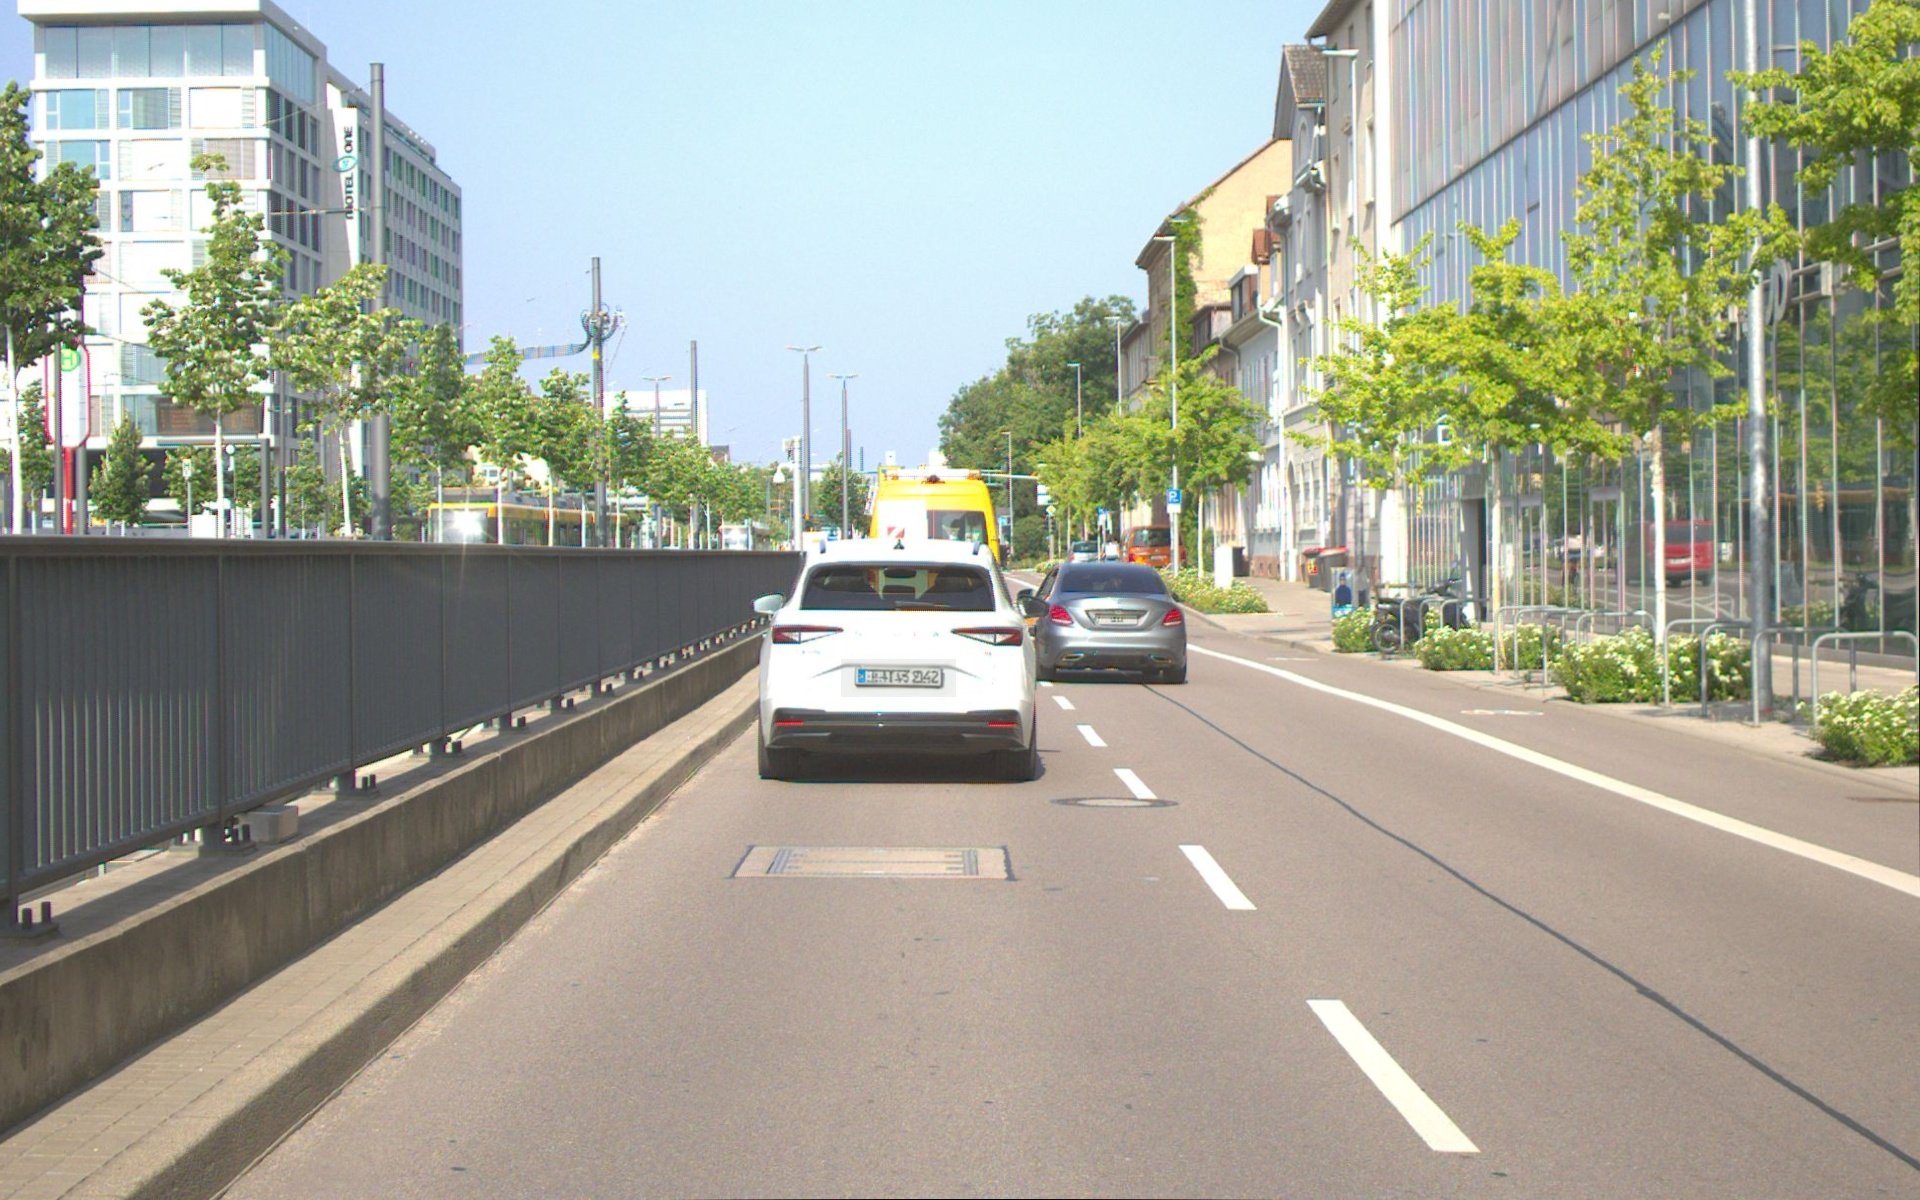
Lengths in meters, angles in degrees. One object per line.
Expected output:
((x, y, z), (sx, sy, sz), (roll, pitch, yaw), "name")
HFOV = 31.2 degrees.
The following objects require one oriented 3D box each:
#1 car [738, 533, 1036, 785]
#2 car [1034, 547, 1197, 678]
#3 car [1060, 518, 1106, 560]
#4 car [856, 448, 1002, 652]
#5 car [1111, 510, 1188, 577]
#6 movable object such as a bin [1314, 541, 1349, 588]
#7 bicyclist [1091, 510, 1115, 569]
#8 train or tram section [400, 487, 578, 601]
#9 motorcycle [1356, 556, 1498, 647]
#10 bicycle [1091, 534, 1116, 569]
((-0.460, 0.336, 23.719), (1.870, 1.569, 4.000), (0, 1, 0), "car")
((1.827, 0.114, 41.501), (1.760, 1.431, 4.115), (1, 1, 0), "car")
((5.363, -2.659, 150.289), (1.812, 1.806, 3.836), (0, 1, -1), "car")
((-0.432, -0.822, 50.921), (2.020, 2.786, 5.401), (0, 3, 0), "car")
((5.857, -1.768, 106.726), (2.063, 2.006, 4.589), (0, 2, -1), "car")
((9.600, -0.921, 88.887), (0.781, 1.168, 0.808), (0, 3, -1), "movable object such as a bin")
((3.860, -1.634, 92.586), (0.639, 1.571, 0.771), (0, 1, 2), "bicyclist")
((-16.452, -1.952, 121.826), (2.906, 3.663, 18.135), (1, 1, 3), "train or tram section")
((7.121, 0.016, 52.465), (1.968, 1.345, 0.868), (-1, 1, -11), "motorcycle")
((3.871, -1.312, 92.750), (0.655, 0.935, 1.517), (0, 1, 2), "bicycle")
